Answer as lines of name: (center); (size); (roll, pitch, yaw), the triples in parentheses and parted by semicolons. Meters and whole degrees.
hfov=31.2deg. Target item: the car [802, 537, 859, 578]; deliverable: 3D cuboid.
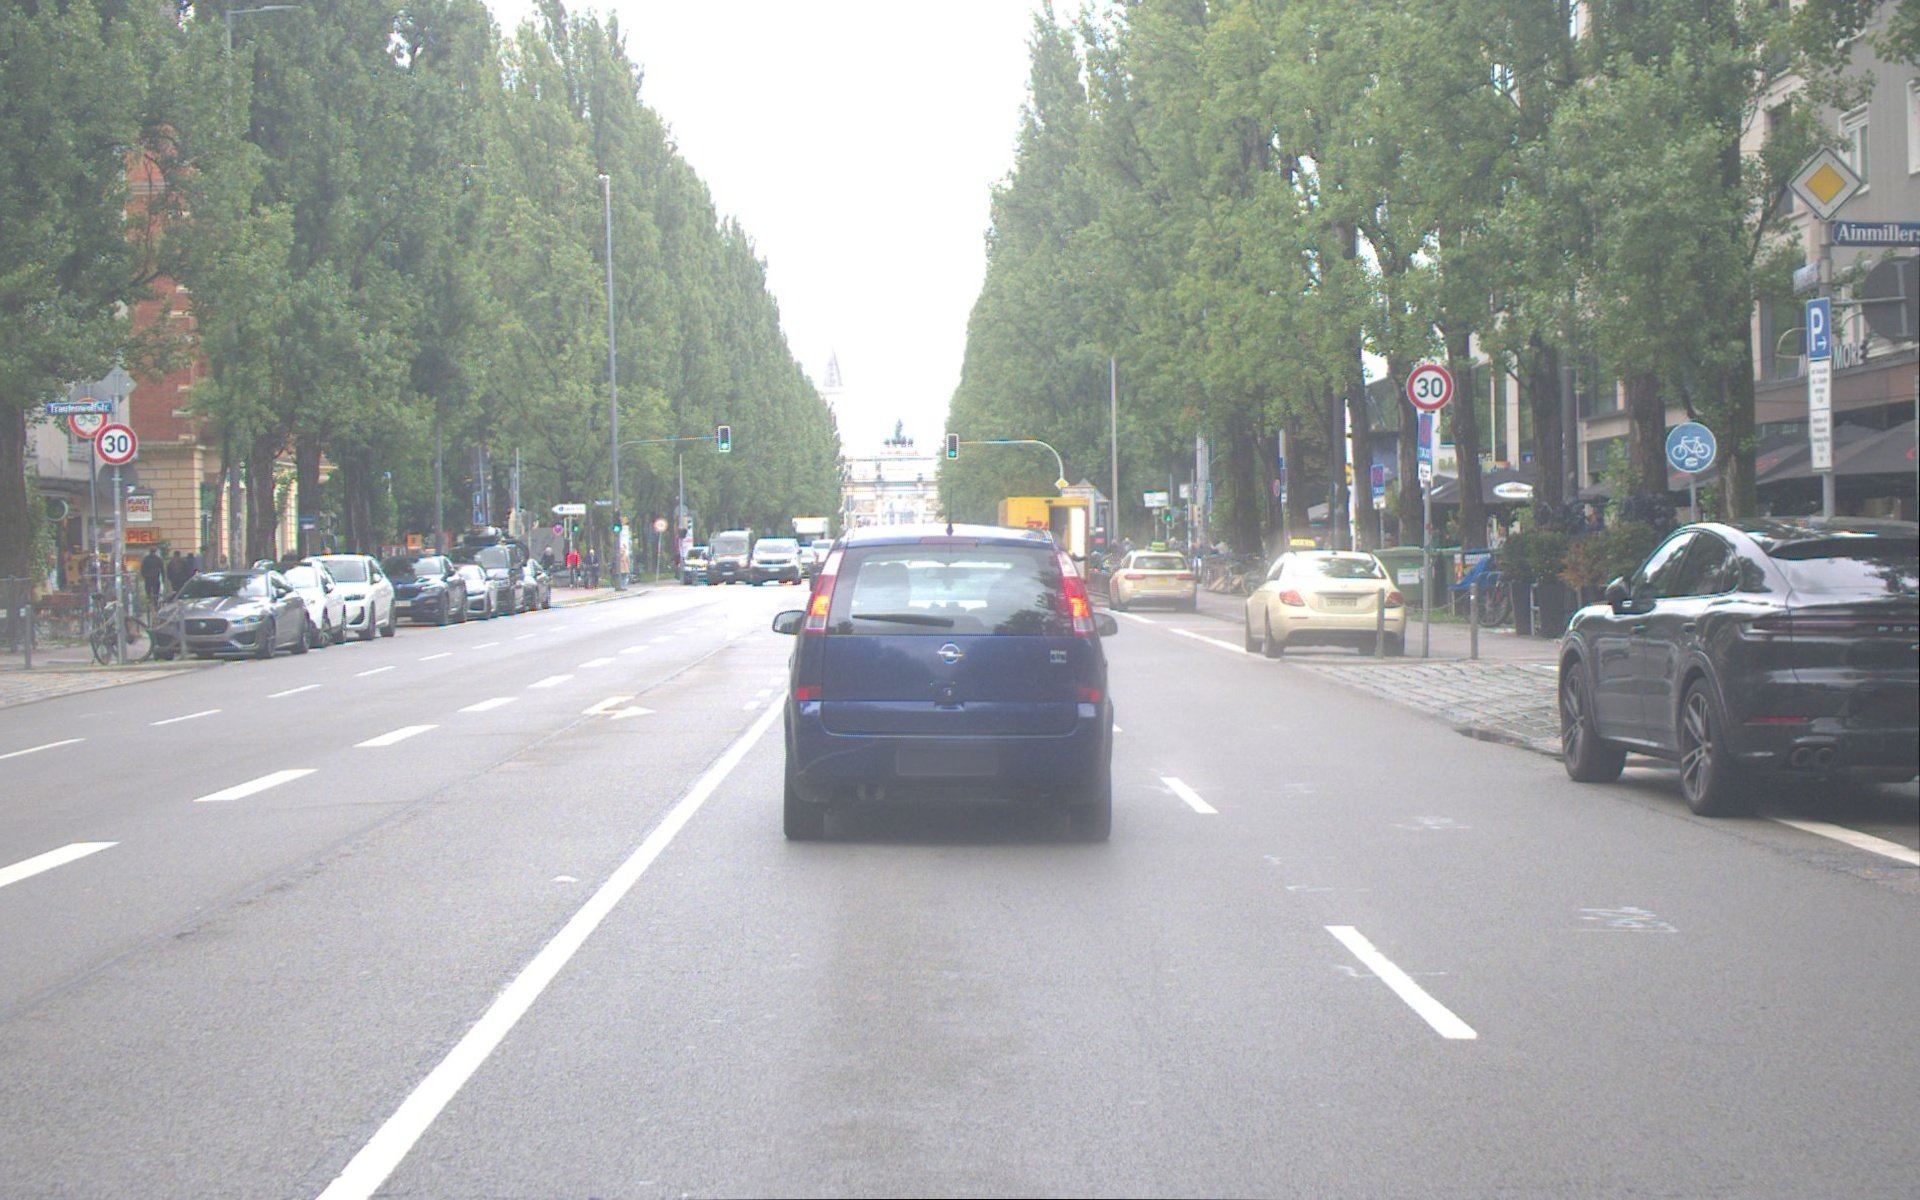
car: (-4.606, -1.523, 122.338); (1.961, 1.394, 3.779); (-1, 1, -1)

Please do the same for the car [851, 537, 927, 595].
car: (-1.938, -0.932, 92.649); (1.993, 1.492, 4.000); (-1, 1, -2)

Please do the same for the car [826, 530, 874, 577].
car: (-4.303, -1.836, 134.836); (1.835, 1.755, 3.779); (-1, 1, -1)

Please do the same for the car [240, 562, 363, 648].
car: (-11.686, 0.067, 61.173); (1.546, 1.448, 3.458); (-1, 1, -1)

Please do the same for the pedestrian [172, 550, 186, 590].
pedestrian: (-21.511, -0.818, 94.717); (0.289, 1.086, 0.258); (-1, 1, 5)

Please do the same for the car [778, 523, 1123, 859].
car: (-0.109, 0.400, 18.736); (1.681, 1.635, 4.001); (0, 1, -2)

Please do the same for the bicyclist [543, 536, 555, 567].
bicyclist: (-22.895, -2.706, 191.528); (0.619, 1.707, 0.564); (-1, 1, -7)

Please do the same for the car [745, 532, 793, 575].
car: (-7.815, -1.909, 140.870); (1.835, 1.671, 3.779); (-1, 1, -1)

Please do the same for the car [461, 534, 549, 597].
car: (-12.535, -0.959, 94.932); (1.993, 1.656, 4.000); (-1, 1, -2)

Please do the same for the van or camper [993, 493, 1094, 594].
van or camper: (2.196, -1.522, 92.284); (2.476, 2.572, 5.845); (-1, 1, -1)

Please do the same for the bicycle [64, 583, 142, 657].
bicycle: (-12.336, 0.279, 49.555); (0.665, 1.002, 2.462); (-1, 1, -4)

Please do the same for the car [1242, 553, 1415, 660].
car: (5.003, 0.056, 47.131); (1.897, 1.358, 3.900); (-1, 1, -1)

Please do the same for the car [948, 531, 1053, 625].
car: (0.707, -0.424, 62.378); (1.706, 1.568, 4.001); (-2, 2, -2)

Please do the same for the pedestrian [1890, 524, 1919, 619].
pedestrian: (14.915, -0.453, 53.487); (0.684, 1.464, 0.678); (-1, 1, -1)

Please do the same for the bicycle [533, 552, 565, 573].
bicycle: (-22.903, -2.096, 191.522); (1.706, 1.130, 0.448); (-1, 1, -6)

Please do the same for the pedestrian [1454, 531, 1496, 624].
pedestrian: (9.032, -0.401, 60.321); (0.654, 1.621, 0.704); (1, 0, 4)

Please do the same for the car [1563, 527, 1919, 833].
car: (4.816, 0.389, 20.072); (1.797, 1.588, 4.104); (1, 1, -1)

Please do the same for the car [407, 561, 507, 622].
car: (-12.276, -0.217, 84.106); (1.961, 1.394, 3.779); (-1, 1, -1)

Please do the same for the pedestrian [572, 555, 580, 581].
pedestrian: (-16.284, -1.352, 145.709); (0.258, 1.086, 0.290); (-1, 1, 5)

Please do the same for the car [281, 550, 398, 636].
car: (-11.891, -0.153, 66.072); (1.654, 1.556, 3.458); (-1, 1, -1)

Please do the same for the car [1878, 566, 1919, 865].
car: (5.422, 0.578, 15.154); (1.681, 1.410, 3.583); (1, 1, -2)

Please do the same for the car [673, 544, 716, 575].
car: (-13.522, -2.074, 174.999); (1.961, 1.543, 3.779); (-1, 1, -1)

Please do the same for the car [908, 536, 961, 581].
car: (-1.004, -1.621, 133.969); (1.961, 1.671, 3.779); (-1, 1, -1)

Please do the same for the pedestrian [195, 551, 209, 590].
pedestrian: (-20.915, -0.815, 94.908); (0.289, 1.086, 0.258); (-1, 1, 5)

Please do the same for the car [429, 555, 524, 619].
car: (-12.383, -0.351, 88.181); (1.961, 1.543, 3.779); (-1, 1, -1)

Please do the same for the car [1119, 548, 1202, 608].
car: (4.737, -0.544, 81.789); (1.669, 1.348, 4.104); (-1, 1, -1)

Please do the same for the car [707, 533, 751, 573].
car: (-10.430, -2.133, 155.424); (1.835, 1.733, 3.779); (-1, 1, -1)

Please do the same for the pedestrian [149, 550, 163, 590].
pedestrian: (-22.348, -0.836, 95.592); (0.289, 1.086, 0.258); (-1, 1, 5)

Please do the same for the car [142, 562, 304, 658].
car: (-11.786, 0.134, 55.197); (1.830, 1.415, 3.811); (-1, 1, -1)

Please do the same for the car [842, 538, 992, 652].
car: (-0.646, -0.102, 48.313); (1.993, 1.492, 4.001); (-1, 1, -2)

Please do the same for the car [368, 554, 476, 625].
car: (-12.167, -0.259, 77.955); (1.961, 1.525, 4.001); (-1, 1, -2)
